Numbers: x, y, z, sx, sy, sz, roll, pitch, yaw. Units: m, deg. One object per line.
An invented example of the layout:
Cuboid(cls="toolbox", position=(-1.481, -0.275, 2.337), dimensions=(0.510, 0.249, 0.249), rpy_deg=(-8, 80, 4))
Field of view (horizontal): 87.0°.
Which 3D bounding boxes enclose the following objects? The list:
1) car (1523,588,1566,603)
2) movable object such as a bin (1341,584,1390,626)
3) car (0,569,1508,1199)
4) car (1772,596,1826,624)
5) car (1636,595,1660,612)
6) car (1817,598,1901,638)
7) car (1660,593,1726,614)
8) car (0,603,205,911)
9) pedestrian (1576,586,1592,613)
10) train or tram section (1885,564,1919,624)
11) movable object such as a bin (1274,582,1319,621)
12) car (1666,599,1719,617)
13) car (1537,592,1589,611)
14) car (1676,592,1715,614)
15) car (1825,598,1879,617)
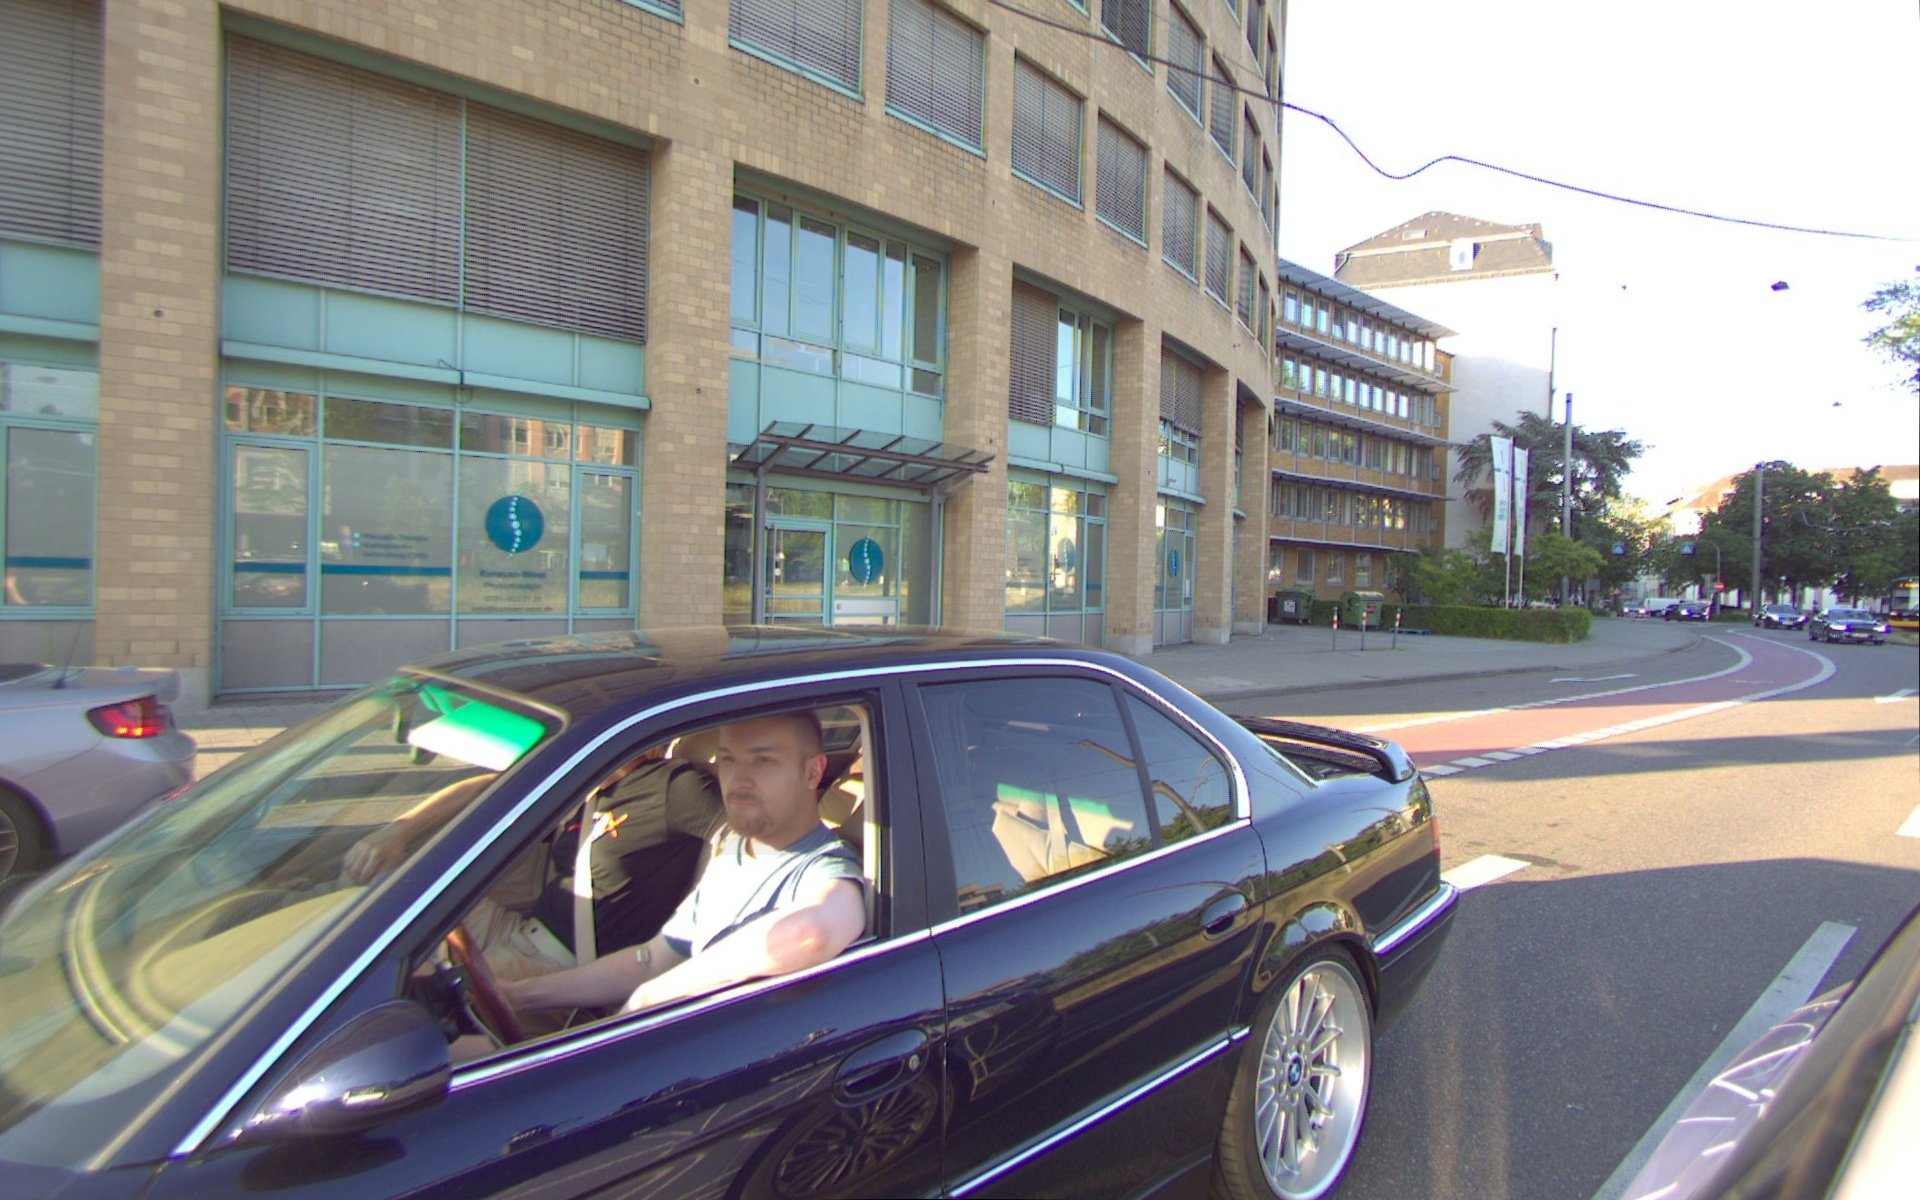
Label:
Cuboid(cls="car", position=(71.761, -0.529, 124.356), dimensions=(4.356, 1.633, 1.713), rpy_deg=(3, 1, 27))
Cuboid(cls="movable object such as a bin", position=(14.747, 0.172, 36.809), dimensions=(1.317, 1.455, 0.976), rpy_deg=(2, 0, -22))
Cuboid(cls="car", position=(-0.658, 0.662, 2.215), dimensions=(4.560, 1.371, 1.833), rpy_deg=(1, 0, -42))
Cuboid(cls="car", position=(49.393, 0.603, 59.647), dimensions=(1.807, 1.501, 4.088), rpy_deg=(3, 1, 32))
Cuboid(cls="car", position=(65.910, 0.319, 96.998), dimensions=(1.809, 1.501, 4.084), rpy_deg=(2, 0, 34))
Cuboid(cls="car", position=(37.247, 0.726, 42.037), dimensions=(1.806, 1.501, 4.090), rpy_deg=(3, 1, 31))
Cuboid(cls="car", position=(75.764, 0.320, 104.662), dimensions=(2.083, 1.926, 5.078), rpy_deg=(2, 1, -39))
Cuboid(cls="car", position=(-5.970, 0.694, 4.387), dimensions=(4.192, 1.371, 1.786), rpy_deg=(1, 0, -41))
Cuboid(cls="pedestrian", position=(43.313, -0.017, 70.270), dimensions=(0.805, 1.814, 0.593), rpy_deg=(2, 0, -30))
Cuboid(cls="train or tram section", position=(64.472, -0.328, 64.848), dimensions=(13.090, 3.629, 2.956), rpy_deg=(0, 1, -26))
Cuboid(cls="movable object such as a bin", position=(13.080, 0.042, 39.340), dimensions=(1.340, 1.442, 0.910), rpy_deg=(3, 0, 42))
Cuboid(cls="car", position=(73.190, 0.789, 101.141), dimensions=(4.055, 1.571, 1.969), rpy_deg=(3, 1, 43))
Cuboid(cls="car", position=(56.905, 0.127, 95.585), dimensions=(4.035, 1.589, 1.818), rpy_deg=(3, 1, 30))
Cuboid(cls="car", position=(54.680, 0.246, 75.310), dimensions=(1.805, 1.501, 4.093), rpy_deg=(3, 1, 29))
Cuboid(cls="car", position=(92.351, 0.733, 104.775), dimensions=(1.672, 1.746, 4.007), rpy_deg=(2, 1, -42))
